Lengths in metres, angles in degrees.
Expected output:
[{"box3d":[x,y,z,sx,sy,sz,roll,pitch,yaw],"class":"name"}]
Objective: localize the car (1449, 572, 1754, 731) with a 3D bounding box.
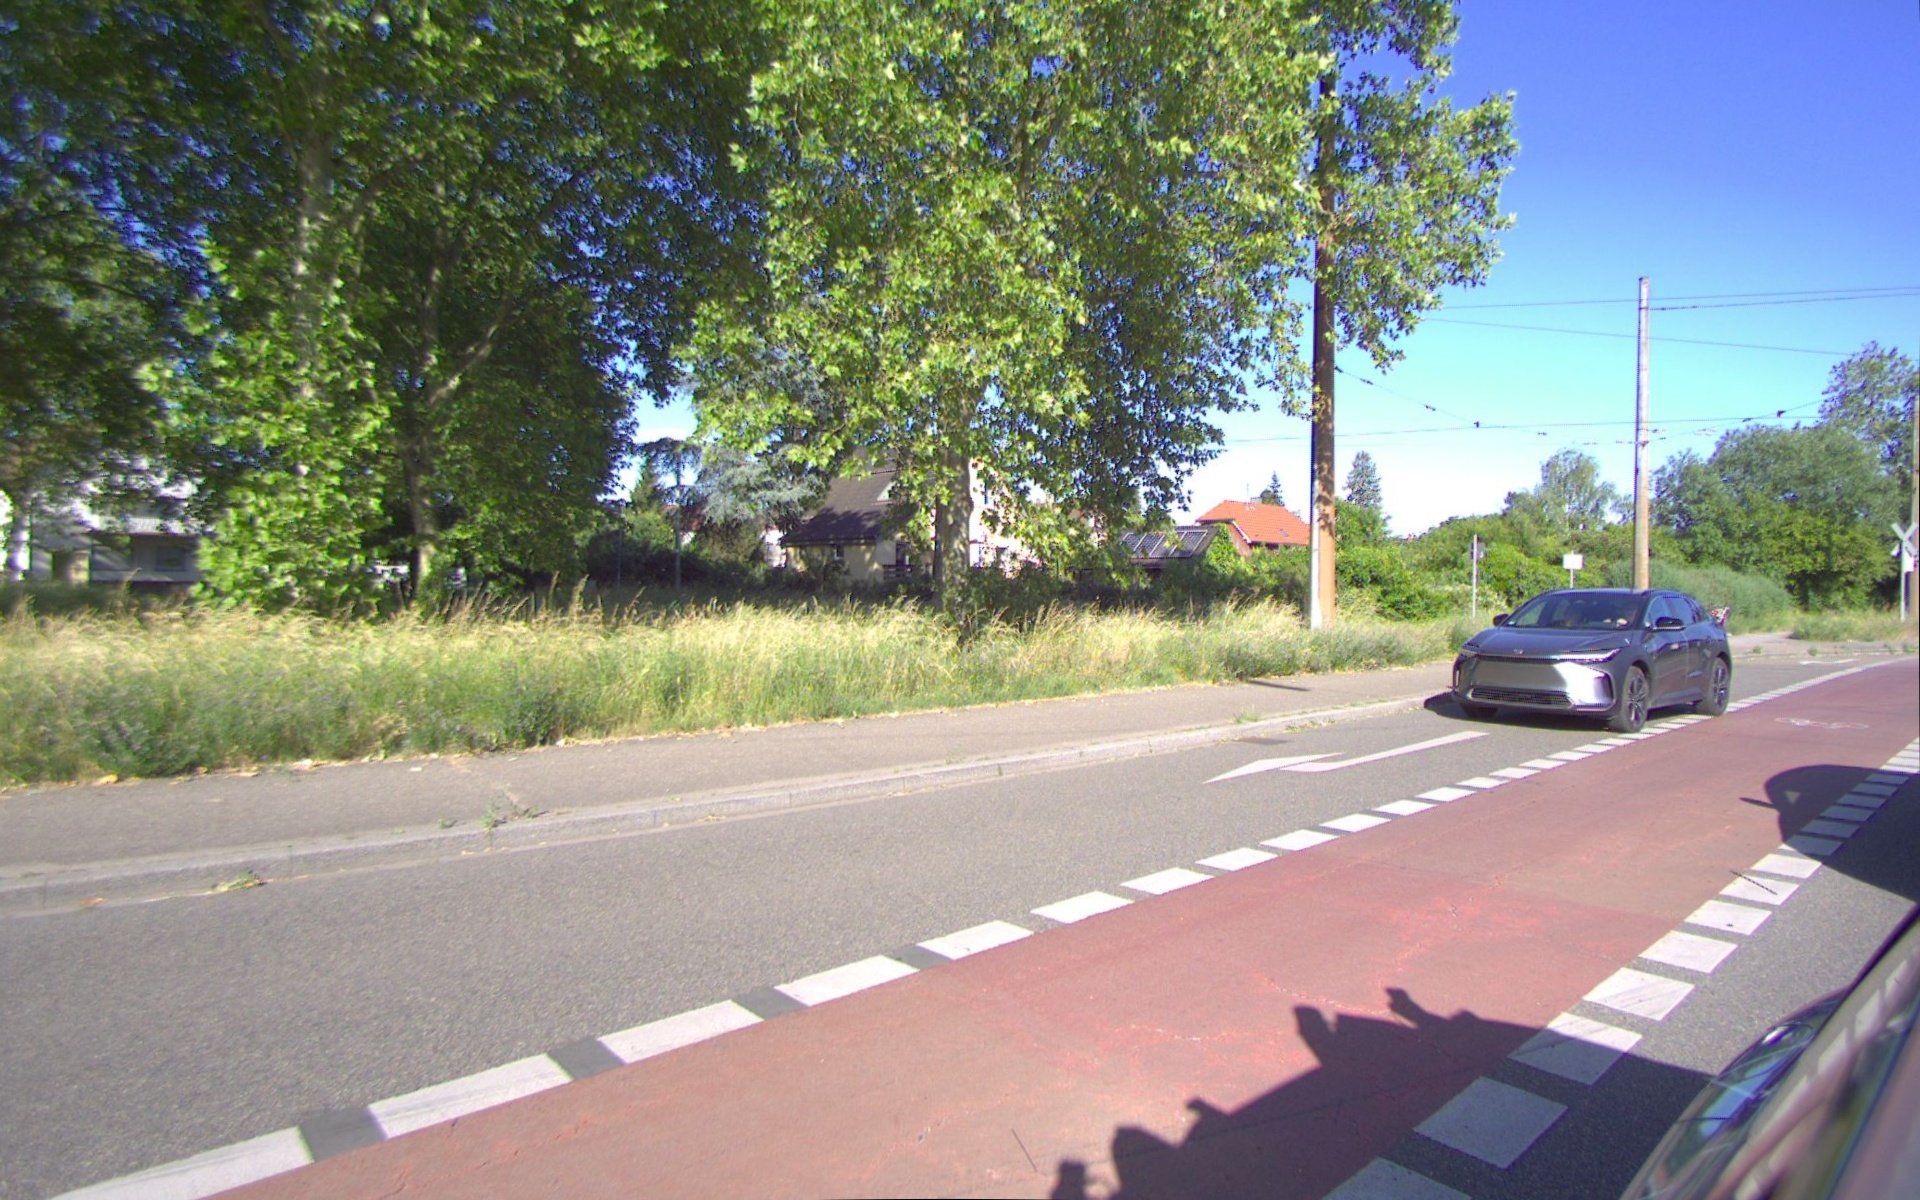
[{"box3d":[8.060,0.523,12.565,4.415,1.651,1.771,0,1,-37],"class":"car"}]
